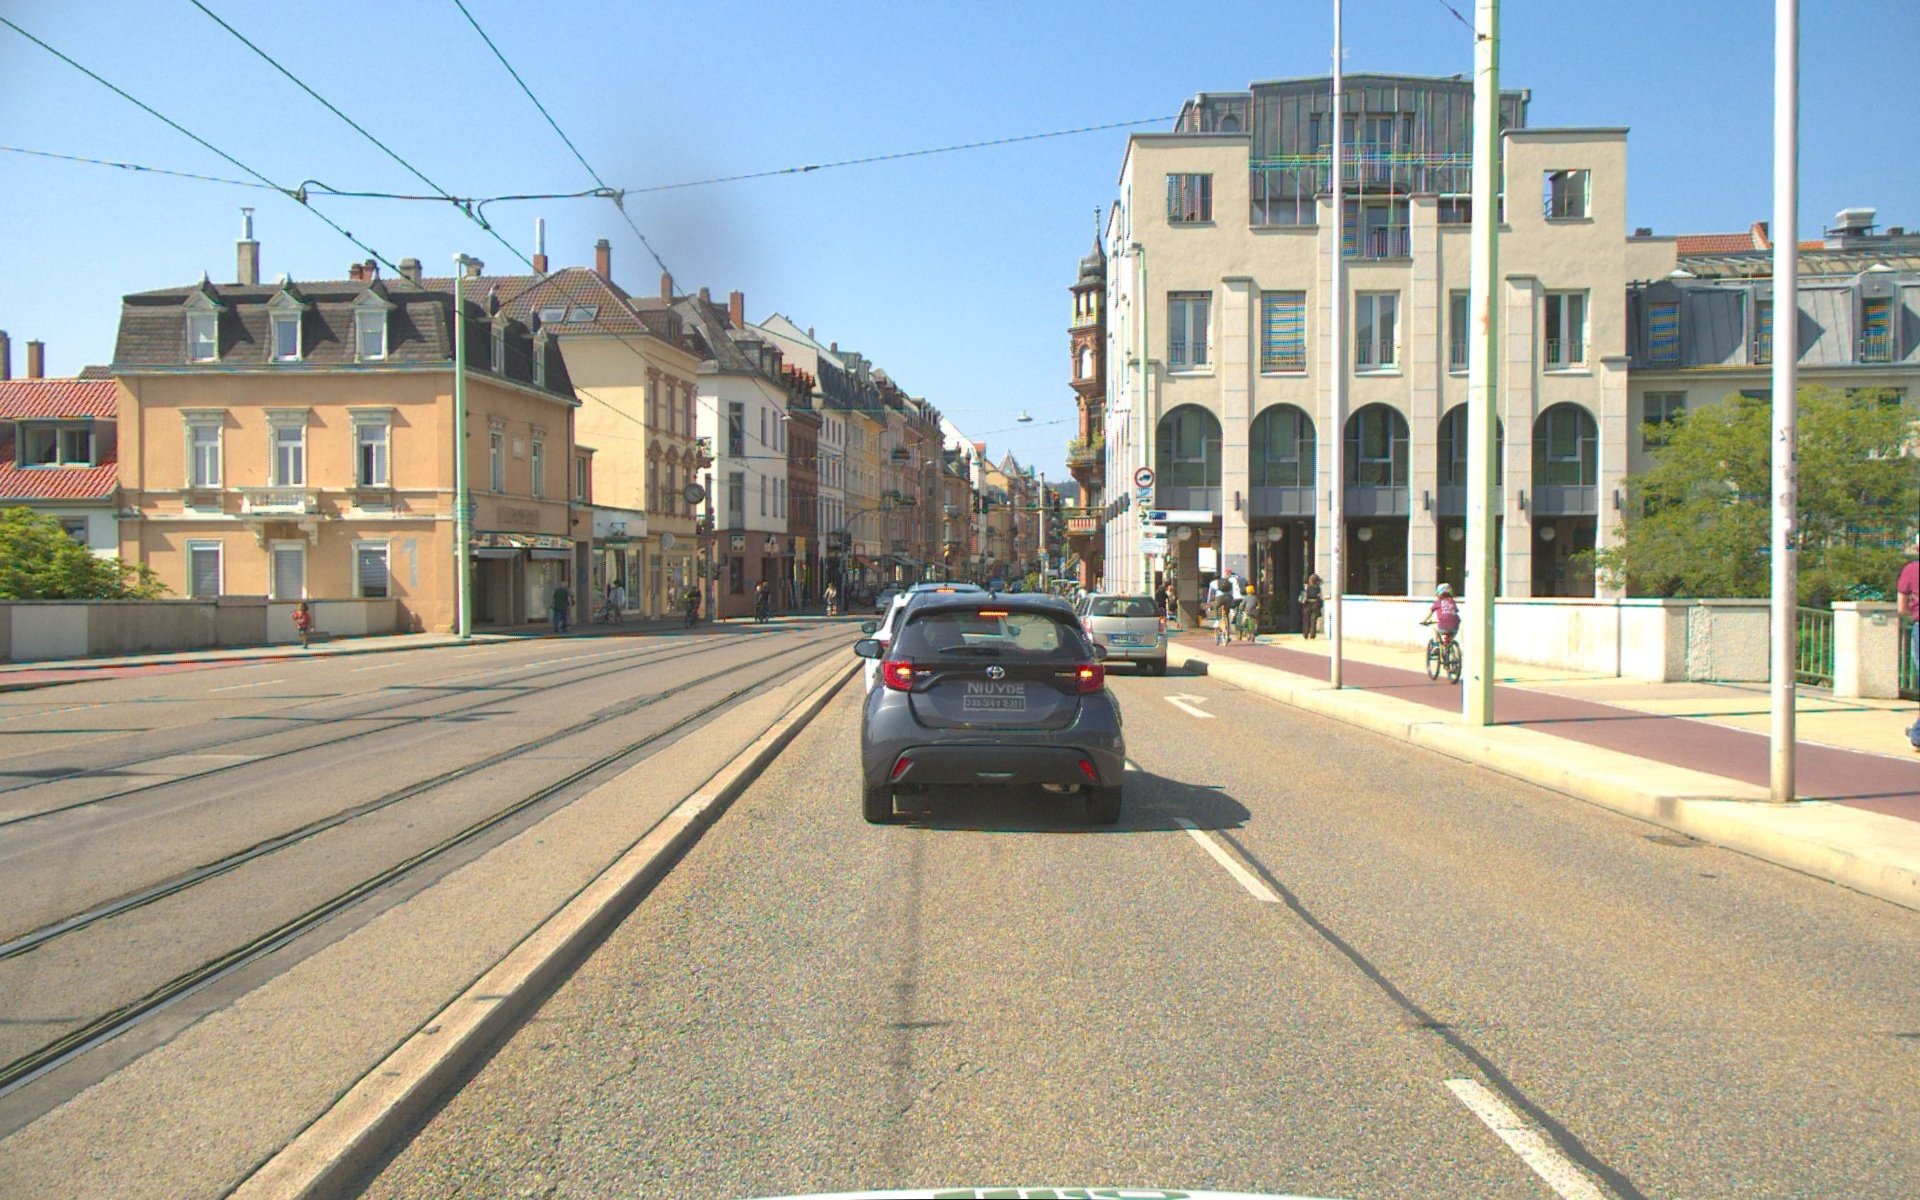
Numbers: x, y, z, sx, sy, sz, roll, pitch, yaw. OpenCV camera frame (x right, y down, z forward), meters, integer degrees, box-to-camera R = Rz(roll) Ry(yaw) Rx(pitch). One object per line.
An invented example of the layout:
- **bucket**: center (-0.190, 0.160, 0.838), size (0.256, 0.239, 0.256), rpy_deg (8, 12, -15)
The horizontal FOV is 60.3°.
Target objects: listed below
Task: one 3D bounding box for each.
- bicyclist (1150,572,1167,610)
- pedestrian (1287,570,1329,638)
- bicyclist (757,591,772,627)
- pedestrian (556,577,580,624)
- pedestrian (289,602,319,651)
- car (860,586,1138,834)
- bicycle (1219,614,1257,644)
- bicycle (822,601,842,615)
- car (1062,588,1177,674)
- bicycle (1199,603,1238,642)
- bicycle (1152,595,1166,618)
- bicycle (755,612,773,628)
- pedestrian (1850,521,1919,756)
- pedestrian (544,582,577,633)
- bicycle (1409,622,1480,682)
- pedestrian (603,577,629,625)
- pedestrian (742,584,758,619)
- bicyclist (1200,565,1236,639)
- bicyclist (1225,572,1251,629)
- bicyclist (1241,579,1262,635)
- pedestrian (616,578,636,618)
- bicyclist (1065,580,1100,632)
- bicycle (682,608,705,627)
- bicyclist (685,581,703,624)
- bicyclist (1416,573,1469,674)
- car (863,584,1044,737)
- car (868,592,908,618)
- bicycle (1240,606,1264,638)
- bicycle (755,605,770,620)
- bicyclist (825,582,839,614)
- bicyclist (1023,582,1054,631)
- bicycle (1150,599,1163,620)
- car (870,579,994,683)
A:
- **bicyclist**: center (7.147, -0.312, 59.466), size (0.527, 1.339, 0.672), rpy_deg (-1, 0, 4)
- **pedestrian**: center (8.805, 0.096, 41.840), size (0.724, 1.642, 1.015), rpy_deg (4, 0, -1)
- **bicyclist**: center (-9.271, 0.407, 78.394), size (0.614, 1.679, 0.622), rpy_deg (1, 1, 0)
- **pedestrian**: center (-14.122, -0.001, 59.544), size (0.636, 1.629, 0.566), rpy_deg (4, 2, -1)
- **pedestrian**: center (-16.009, 0.646, 40.344), size (0.403, 1.166, 0.545), rpy_deg (4, 0, 5)
- **car**: center (0.211, 0.666, 12.010), size (1.685, 1.499, 3.657), rpy_deg (1, 0, -1)
- **bicycle**: center (7.371, 0.769, 43.837), size (0.414, 0.779, 0.948), rpy_deg (-2, 0, -39)
- **bicycle**: center (-6.898, 0.416, 88.905), size (0.607, 0.728, 2.047), rpy_deg (2, 1, 8)
- **car**: center (2.952, 0.534, 31.452), size (1.671, 1.491, 4.325), rpy_deg (1, 0, -1)
- **bicycle**: center (6.164, 0.528, 39.463), size (0.689, 0.898, 1.525), rpy_deg (-1, 0, 0)
- **bicycle**: center (7.168, 0.230, 59.513), size (0.407, 0.779, 1.206), rpy_deg (-2, 0, 3)
- **bicycle**: center (-9.285, 0.945, 78.387), size (0.607, 0.728, 1.731), rpy_deg (1, 1, -1)
- **pedestrian**: center (7.831, 0.285, 13.319), size (0.724, 1.833, 1.015), rpy_deg (-2, 0, -1)
- **pedestrian**: center (-13.463, 0.253, 55.741), size (0.746, 1.682, 0.712), rpy_deg (4, 0, 7)
- **bicycle**: center (6.935, 0.727, 23.749), size (0.503, 0.779, 1.660), rpy_deg (-2, 0, -1)
- **pedestrian**: center (-13.309, 0.051, 64.045), size (0.721, 1.796, 0.787), rpy_deg (4, 0, 0)
- **pedestrian**: center (-10.797, 0.076, 85.189), size (0.721, 1.797, 0.787), rpy_deg (0, 1, 0)
- **bicyclist**: center (6.141, 0.042, 39.426), size (0.687, 1.725, 0.924), rpy_deg (-1, 0, 0)
- **bicyclist**: center (7.359, 0.005, 43.814), size (0.480, 1.492, 0.437), rpy_deg (-2, 0, -40)
- **bicyclist**: center (7.432, 0.181, 42.144), size (0.413, 1.407, 0.443), rpy_deg (-2, 0, -1)
- **pedestrian**: center (-13.975, -0.094, 69.228), size (0.636, 1.629, 0.566), rpy_deg (4, 2, -1)
- **bicyclist**: center (6.333, 0.322, 85.550), size (1.216, 2.572, 1.093), rpy_deg (4, 0, -32)
- **bicycle**: center (-10.678, 0.695, 66.333), size (0.607, 0.728, 1.771), rpy_deg (1, 1, -1)
- **bicyclist**: center (-10.663, 0.095, 66.302), size (0.614, 1.679, 0.622), rpy_deg (1, 1, 0)
- **bicyclist**: center (6.921, 0.331, 23.749), size (0.523, 1.407, 0.669), rpy_deg (-2, 0, -1)
- **car**: center (-0.103, 0.617, 19.169), size (1.859, 1.557, 3.999), rpy_deg (1, 0, -1)
- **car**: center (-4.084, 0.273, 94.143), size (1.694, 1.486, 4.376), rpy_deg (0, 0, 6)
- **bicycle**: center (7.447, 0.565, 42.176), size (0.408, 0.779, 0.961), rpy_deg (-2, 0, -1)
- **bicycle**: center (-10.111, 0.633, 84.713), size (0.607, 0.728, 1.771), rpy_deg (1, 1, -1)
- **bicyclist**: center (-6.884, -0.104, 88.892), size (0.614, 1.679, 0.622), rpy_deg (2, 1, 8)
- **bicyclist**: center (4.310, 0.337, 90.624), size (1.211, 2.572, 1.097), rpy_deg (4, 0, -23)
- **bicycle**: center (7.625, 0.377, 64.112), size (0.408, 0.779, 0.962), rpy_deg (-2, 0, 2)
- **car**: center (-0.465, 0.460, 27.265), size (1.859, 1.557, 3.999), rpy_deg (1, 0, -1)
